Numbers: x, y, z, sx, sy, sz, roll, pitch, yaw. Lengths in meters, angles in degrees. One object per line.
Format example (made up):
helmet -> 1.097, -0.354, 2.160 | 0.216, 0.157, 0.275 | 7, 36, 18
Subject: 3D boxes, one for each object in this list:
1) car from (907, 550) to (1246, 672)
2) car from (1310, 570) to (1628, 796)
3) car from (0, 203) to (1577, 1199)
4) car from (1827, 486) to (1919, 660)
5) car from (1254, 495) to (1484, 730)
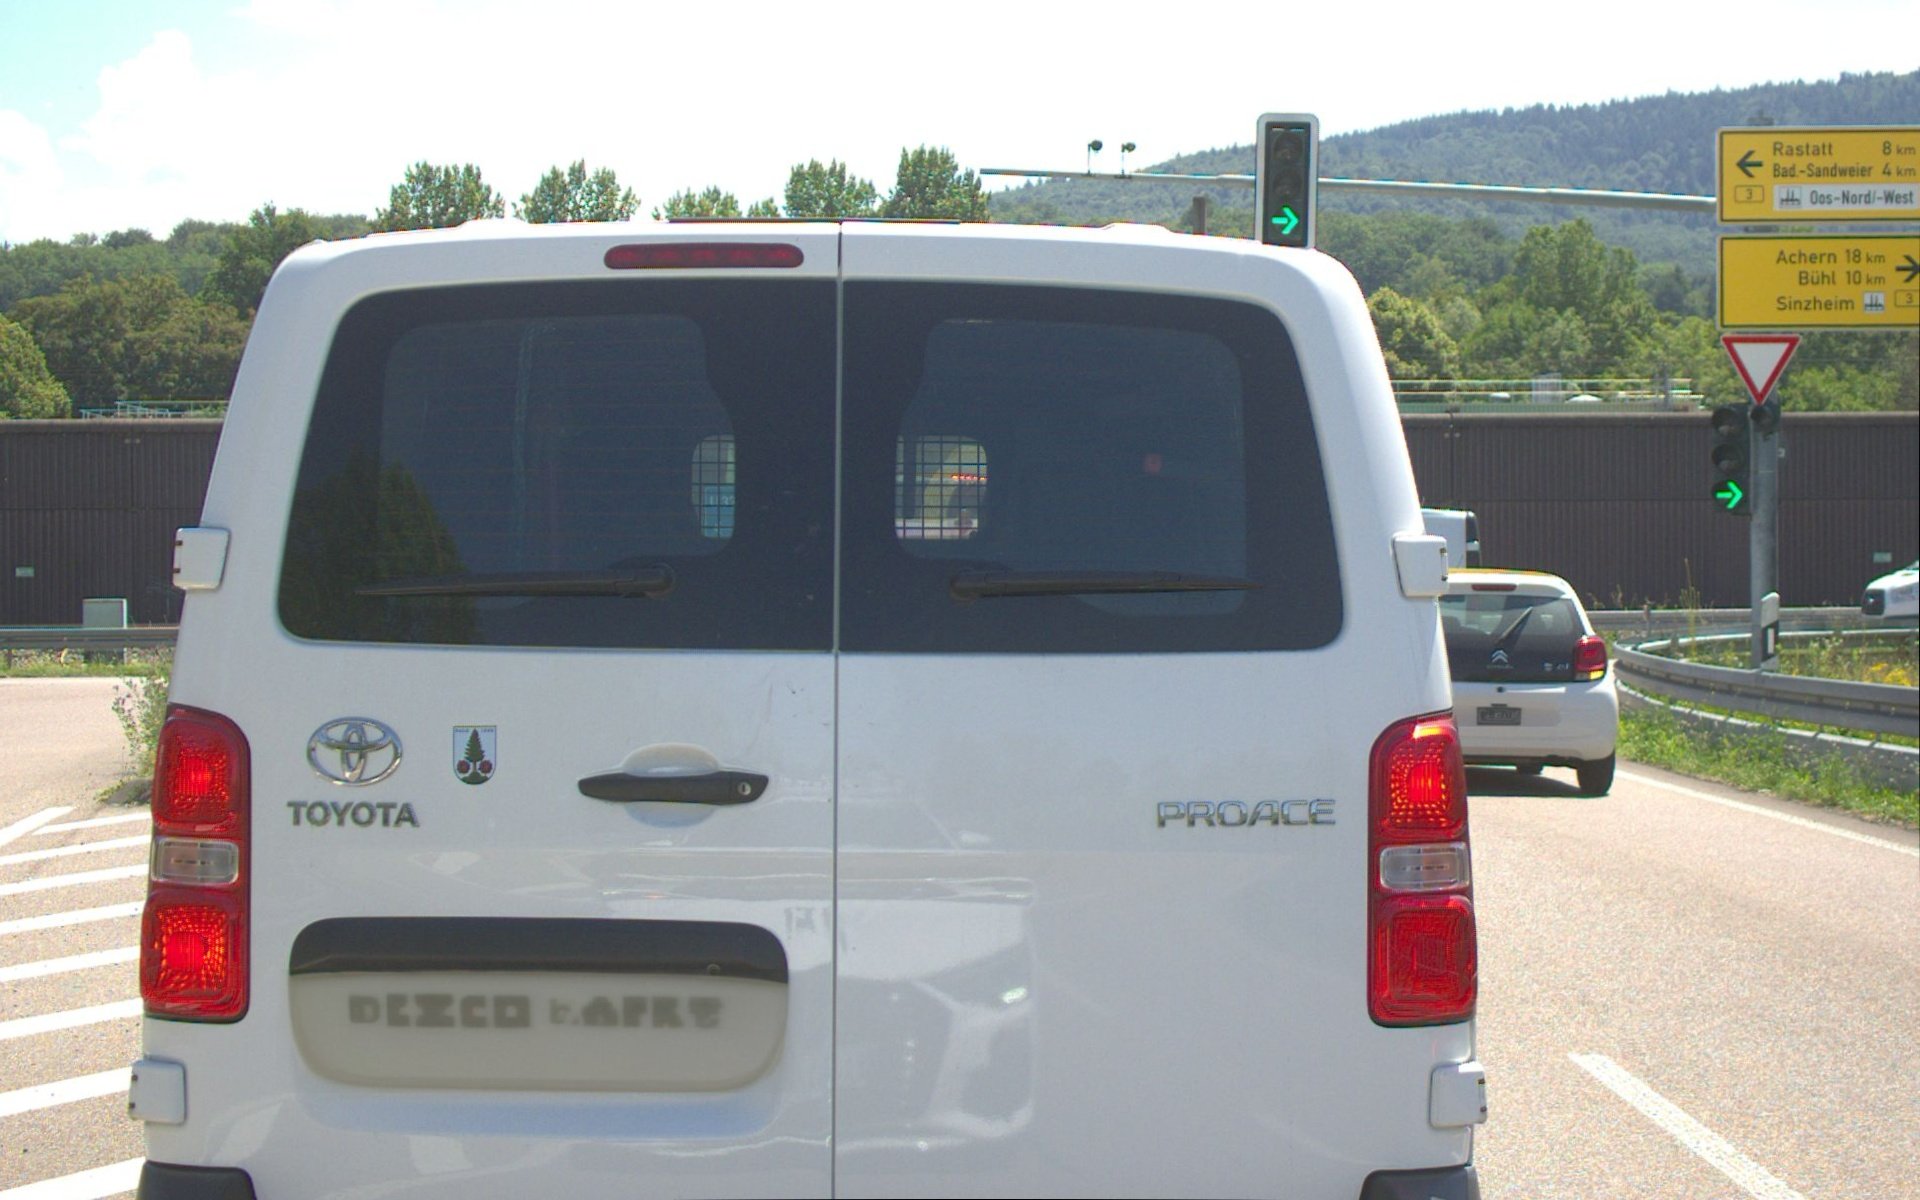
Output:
car -> 1.607, 0.134, 48.046 | 4.308, 1.651, 2.001 | 0, 1, -17
car -> 3.426, 0.517, 23.677 | 1.656, 1.426, 3.366 | 1, 1, 0
car -> -0.250, 0.455, 6.133 | 1.886, 1.880, 4.000 | 1, 1, -1
car -> 15.459, -0.391, 49.599 | 5.344, 2.442, 2.040 | 0, 1, -2
car -> 3.743, 0.084, 31.821 | 1.929, 1.993, 4.836 | 1, 1, 6
